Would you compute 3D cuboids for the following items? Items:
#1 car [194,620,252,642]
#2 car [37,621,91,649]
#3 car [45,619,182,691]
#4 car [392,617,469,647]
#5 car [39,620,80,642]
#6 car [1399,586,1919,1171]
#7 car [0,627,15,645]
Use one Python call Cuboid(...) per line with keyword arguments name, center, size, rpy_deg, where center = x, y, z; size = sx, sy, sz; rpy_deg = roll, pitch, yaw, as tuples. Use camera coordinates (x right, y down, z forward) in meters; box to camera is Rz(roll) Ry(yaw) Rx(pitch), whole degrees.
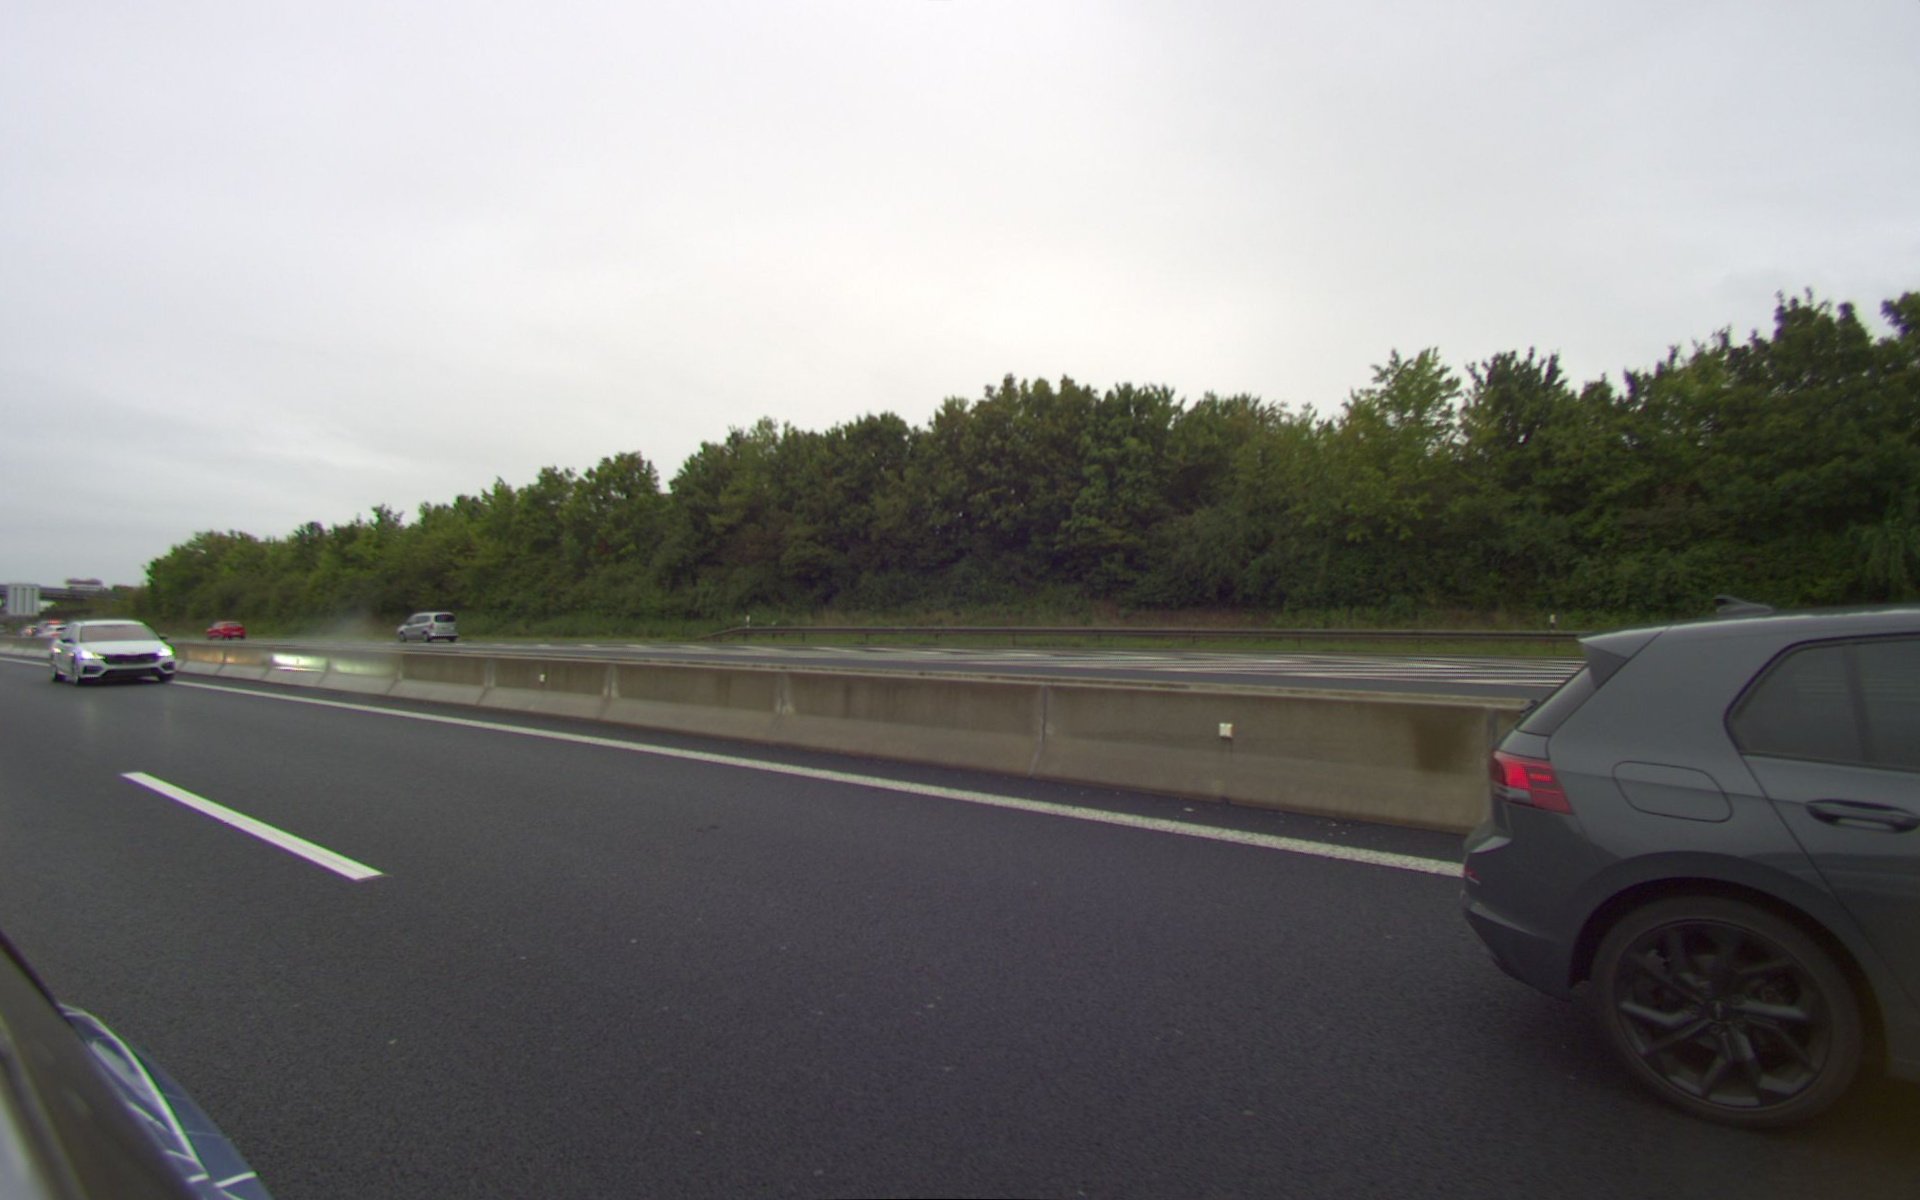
Cuboid(name="car", center=(-59.652, 2.527, 81.938), size=(4.611, 1.708, 2.164), rpy_deg=(-1, -1, 31))
Cuboid(name="car", center=(-57.388, 2.223, 64.774), size=(4.865, 1.708, 2.156), rpy_deg=(-2, -2, 43))
Cuboid(name="car", center=(-19.869, 1.241, 23.702), size=(4.112, 1.518, 1.880), rpy_deg=(-2, -2, 41))
Cuboid(name="car", center=(-32.260, 1.946, 61.635), size=(4.553, 1.708, 2.163), rpy_deg=(-1, -1, 32))
Cuboid(name="car", center=(-74.933, 2.583, 84.153), size=(4.732, 1.708, 2.156), rpy_deg=(-2, -2, 43))
Cuboid(name="car", center=(3.704, 0.657, 2.478), size=(4.457, 1.416, 1.880), rpy_deg=(-2, -2, 42))
Cuboid(name="car", center=(-97.574, 3.656, 102.643), size=(5.250, 1.708, 2.156), rpy_deg=(-2, -2, 43))
